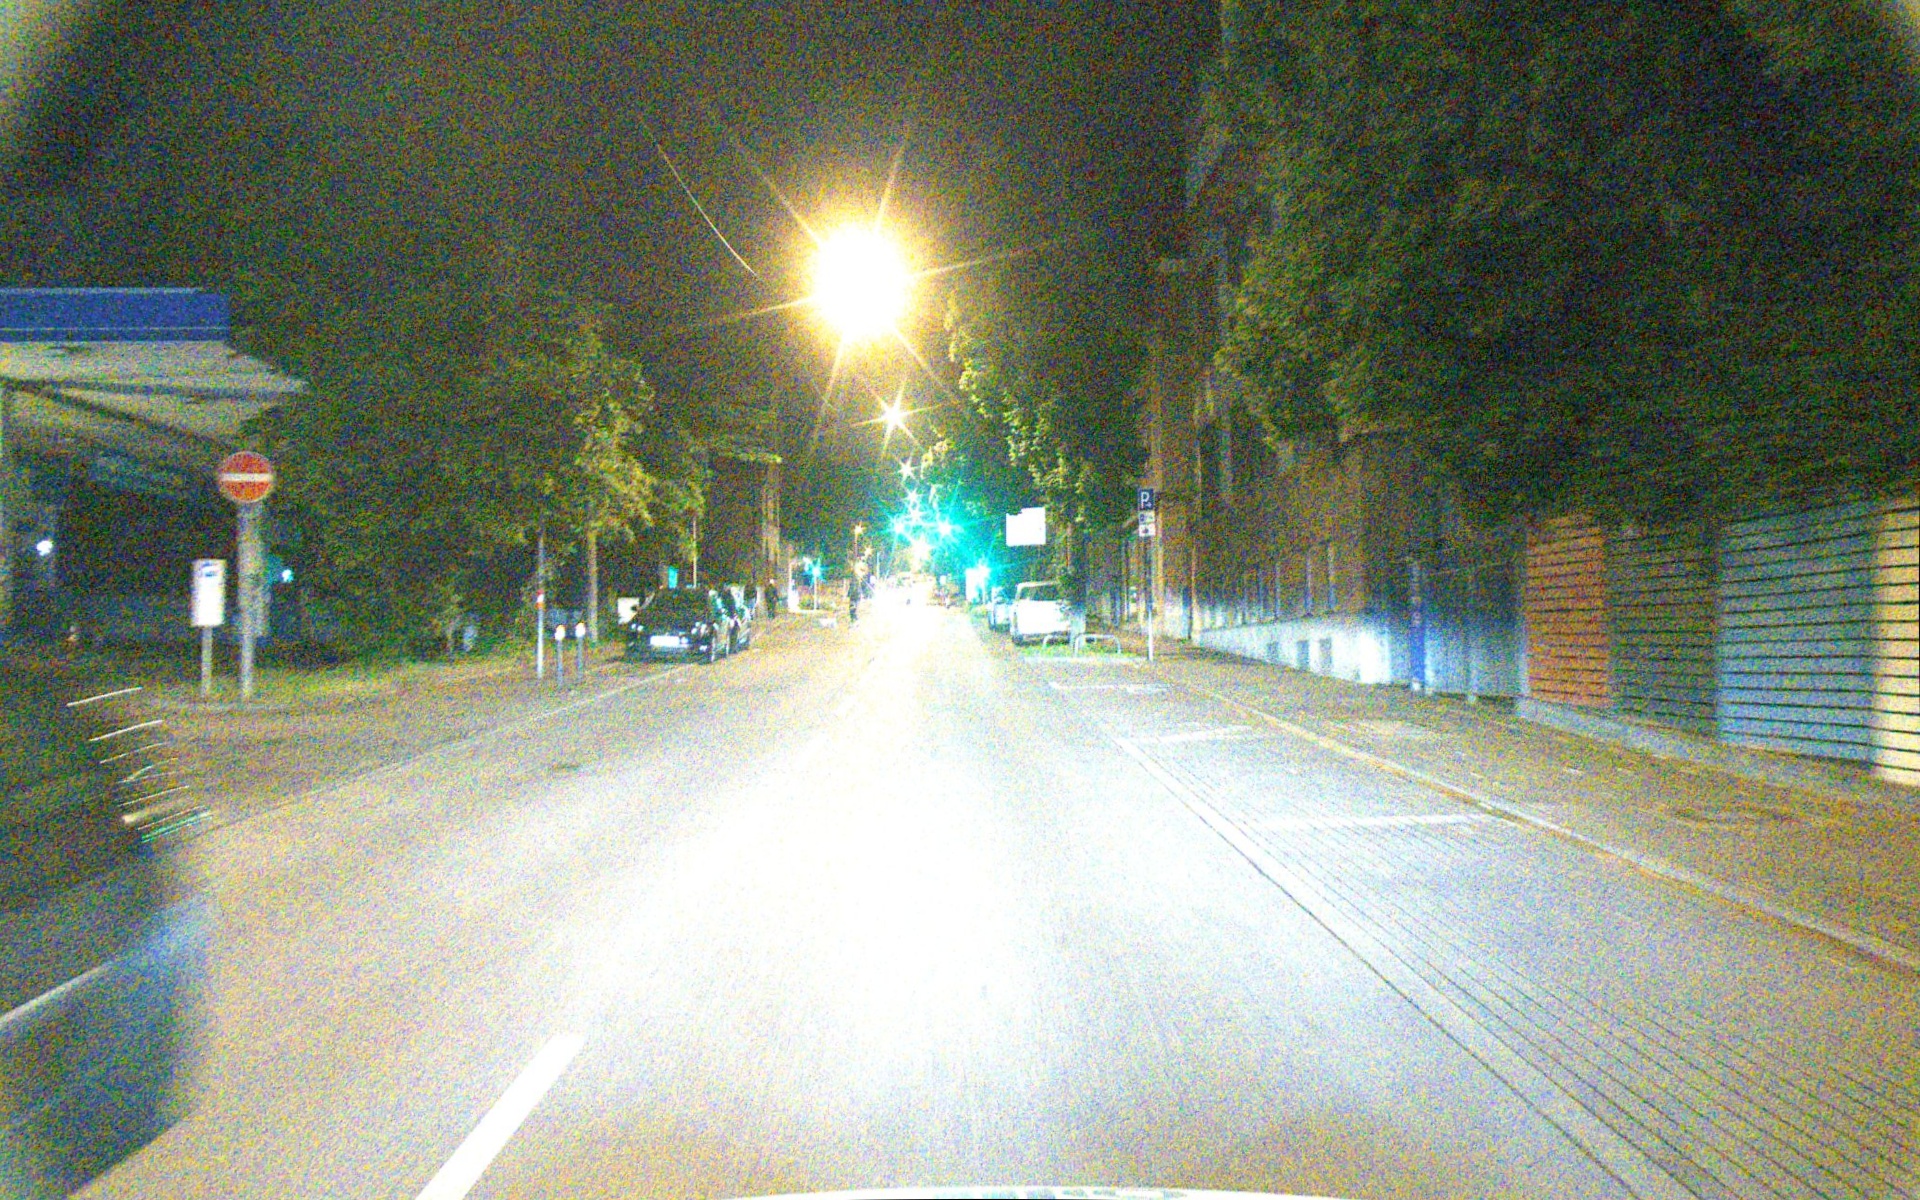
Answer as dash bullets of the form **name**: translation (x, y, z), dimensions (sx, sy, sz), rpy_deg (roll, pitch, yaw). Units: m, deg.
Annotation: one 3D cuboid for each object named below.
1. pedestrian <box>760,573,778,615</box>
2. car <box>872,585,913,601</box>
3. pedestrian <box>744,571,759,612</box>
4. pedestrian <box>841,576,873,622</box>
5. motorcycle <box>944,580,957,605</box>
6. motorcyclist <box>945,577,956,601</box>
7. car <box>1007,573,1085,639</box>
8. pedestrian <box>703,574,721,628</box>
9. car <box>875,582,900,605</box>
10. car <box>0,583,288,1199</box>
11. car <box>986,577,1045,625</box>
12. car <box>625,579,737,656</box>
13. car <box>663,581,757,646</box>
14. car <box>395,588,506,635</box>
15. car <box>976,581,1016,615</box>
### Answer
- **pedestrian**: translation (-8.249, -0.250, 71.349), dimensions (0.705, 1.796, 0.602), rpy_deg (1, -1, -9)
- **car**: translation (-6.377, -0.663, 156.523), dimensions (1.690, 1.483, 3.899), rpy_deg (0, -1, 42)
- **pedestrian**: translation (-8.985, -0.350, 71.183), dimensions (0.559, 1.729, 0.927), rpy_deg (1, -1, -10)
- **pedestrian**: translation (-3.988, -0.054, 64.189), dimensions (0.751, 1.729, 0.924), rpy_deg (3, 0, 34)
- **motorcycle**: translation (-0.700, -0.561, 122.435), dimensions (0.912, 1.783, 2.624), rpy_deg (1, -1, -1)
- **motorcyclist**: translation (-0.700, -0.809, 122.422), dimensions (0.831, 1.783, 0.805), rpy_deg (1, -1, -1)
- **car**: translation (2.253, 0.140, 44.346), dimensions (1.775, 1.622, 4.273), rpy_deg (-2, 0, -1)
- **pedestrian**: translation (-8.123, 0.033, 54.186), dimensions (0.570, 1.729, 0.530), rpy_deg (1, -1, -9)
- **car**: translation (-5.948, -0.503, 135.332), dimensions (1.905, 1.747, 3.999), rpy_deg (1, -1, -1)
- **car**: translation (-2.870, 0.695, 3.259), dimensions (1.612, 1.447, 3.869), rpy_deg (0, 0, -2)
- **car**: translation (1.904, 0.025, 57.650), dimensions (1.831, 1.553, 4.149), rpy_deg (-2, 0, -1)
- **car**: translation (-5.660, 0.328, 33.959), dimensions (1.686, 1.463, 4.189), rpy_deg (1, 0, -2)
- **car**: translation (-5.874, 0.281, 39.301), dimensions (1.686, 1.462, 4.808), rpy_deg (0, 1, -3)
- **car**: translation (-16.576, 0.375, 53.821), dimensions (3.197, 1.478, 1.790), rpy_deg (0, -1, 32)
- **car**: translation (1.662, -0.087, 77.127), dimensions (1.596, 1.522, 3.413), rpy_deg (1, 0, -3)
